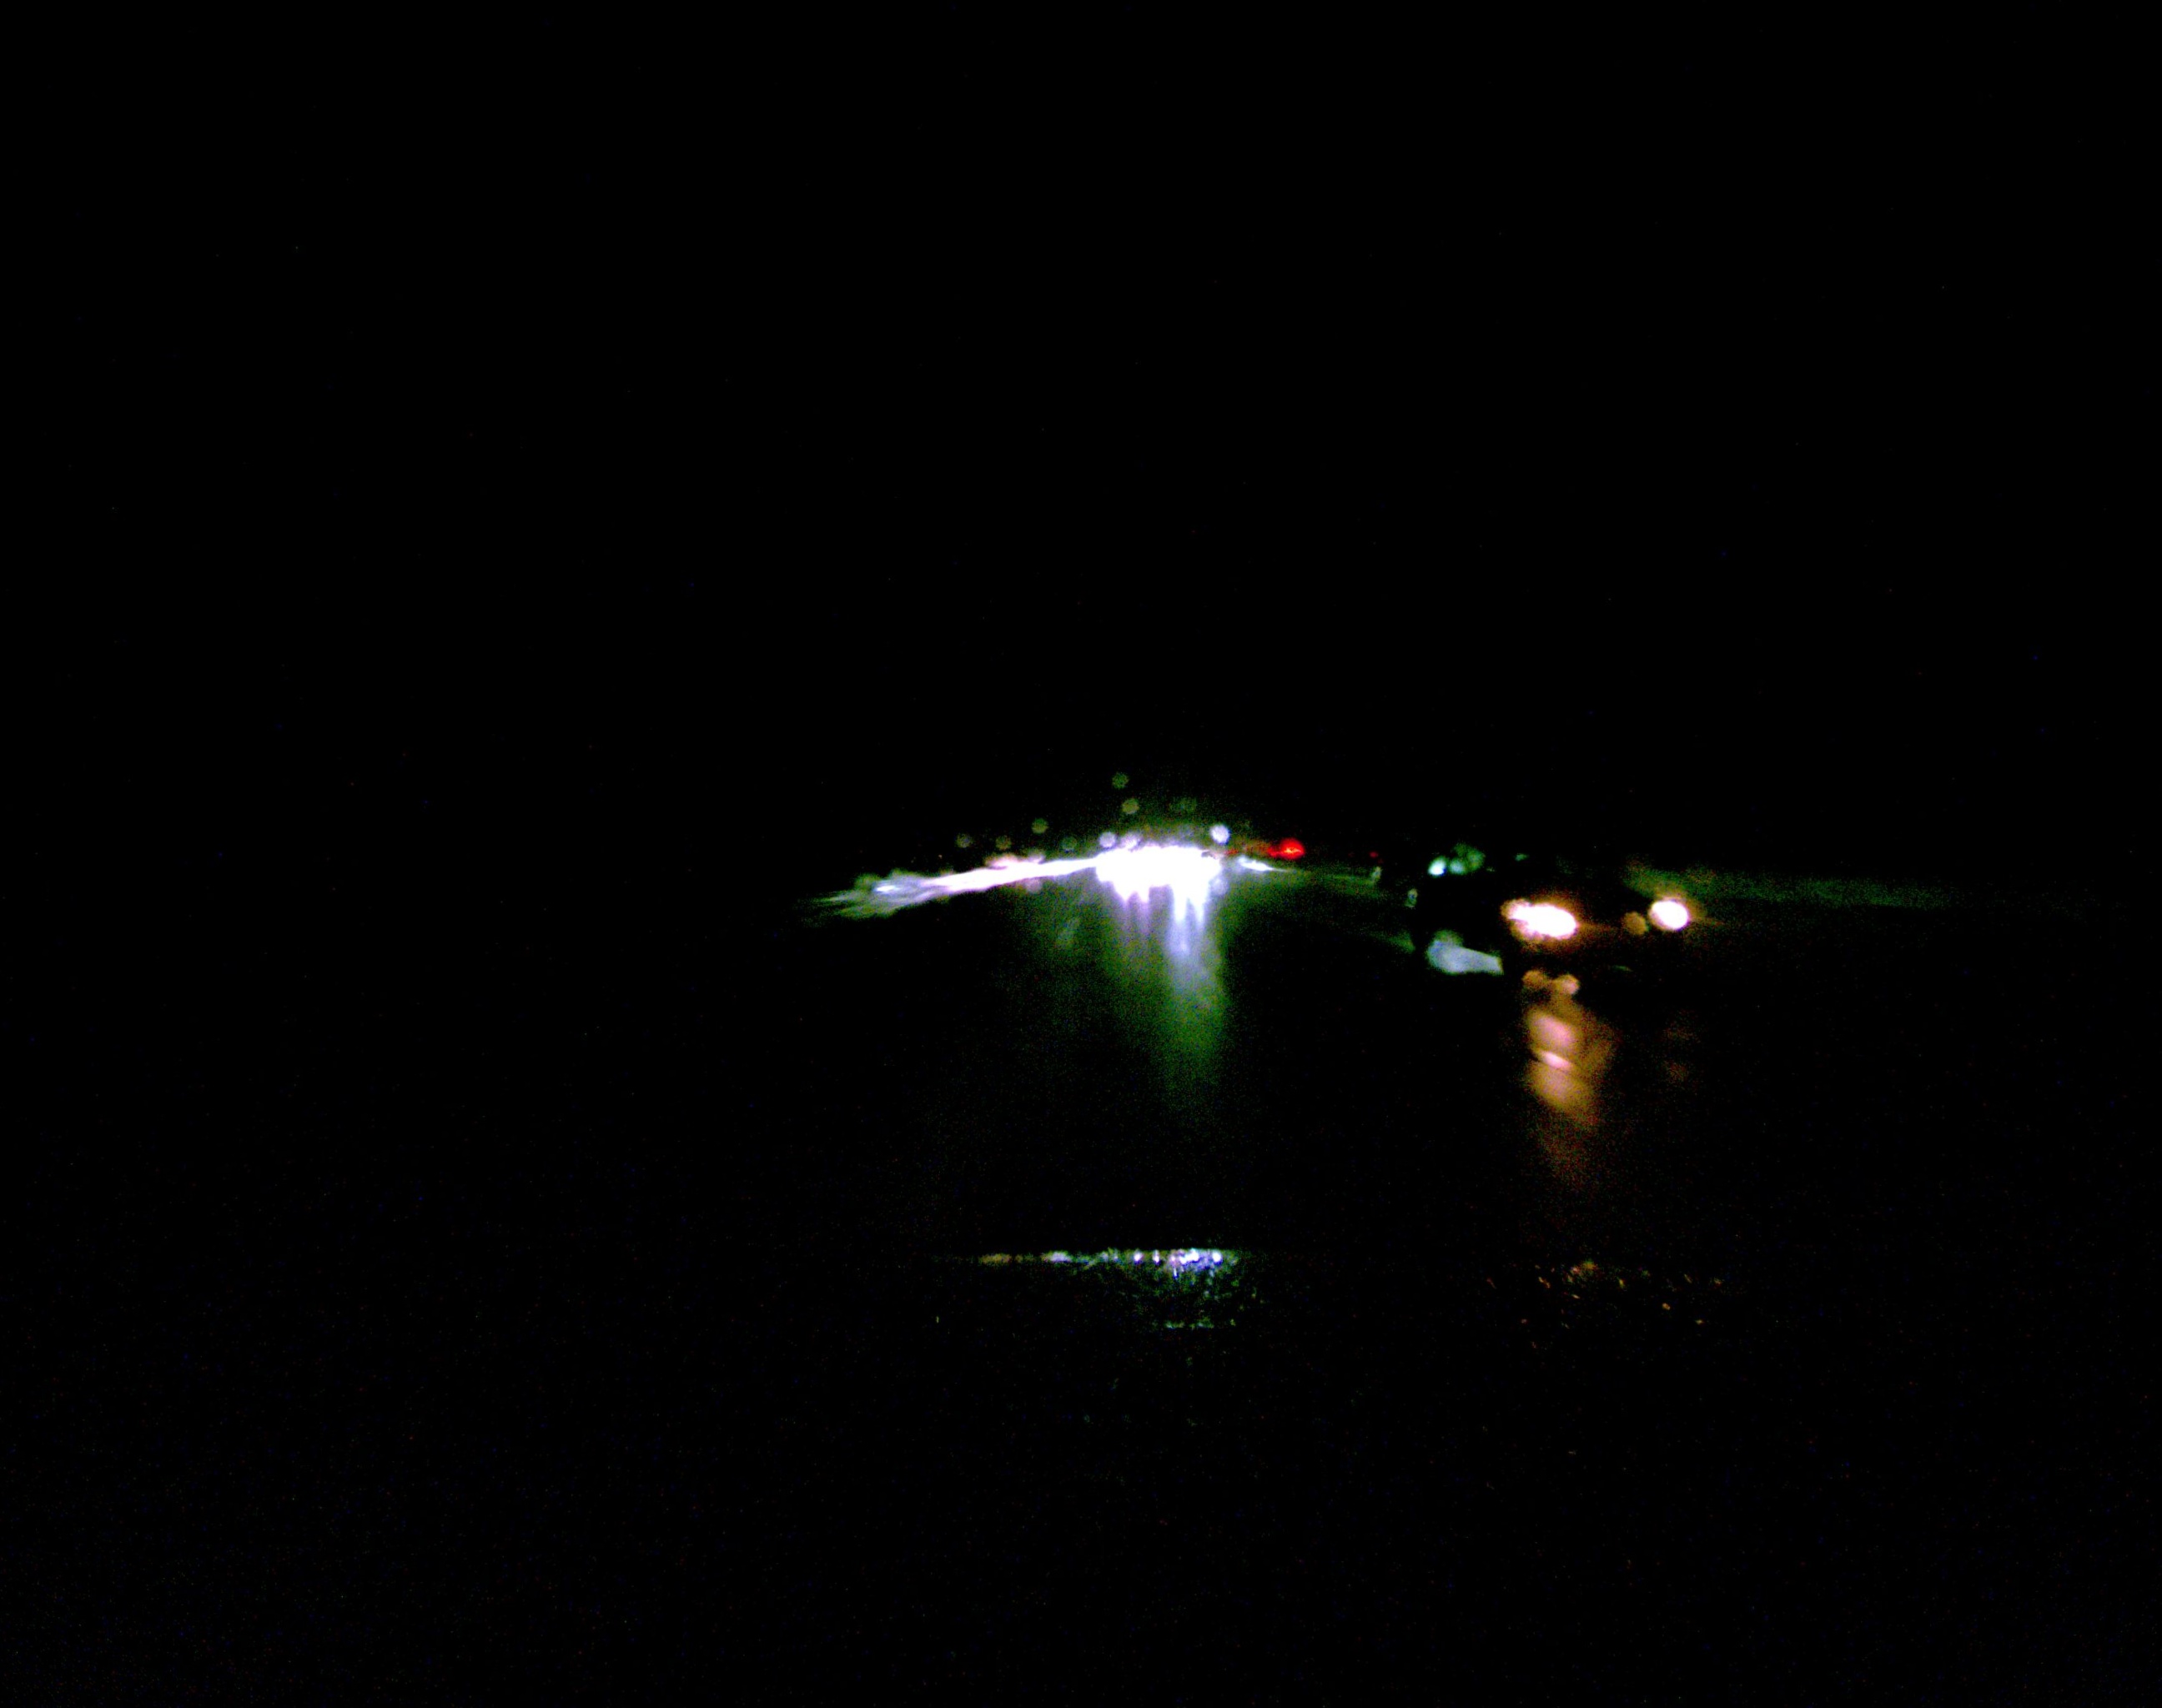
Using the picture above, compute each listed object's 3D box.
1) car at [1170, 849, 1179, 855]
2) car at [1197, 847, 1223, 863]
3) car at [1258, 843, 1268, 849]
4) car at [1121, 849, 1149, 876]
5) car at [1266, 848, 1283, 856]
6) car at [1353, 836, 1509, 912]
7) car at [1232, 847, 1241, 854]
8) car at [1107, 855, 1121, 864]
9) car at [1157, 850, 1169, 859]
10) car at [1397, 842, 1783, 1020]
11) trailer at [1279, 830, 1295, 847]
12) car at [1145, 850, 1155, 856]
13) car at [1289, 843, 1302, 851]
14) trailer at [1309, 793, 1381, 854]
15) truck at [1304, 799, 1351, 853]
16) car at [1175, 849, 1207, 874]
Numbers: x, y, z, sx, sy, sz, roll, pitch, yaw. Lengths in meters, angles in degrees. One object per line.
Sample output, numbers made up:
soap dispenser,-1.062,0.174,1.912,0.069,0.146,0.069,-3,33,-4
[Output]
car,20.605,-0.371,167.701,1.692,1.149,3.421,-5,1,6
car,14.195,0.108,83.878,2.310,1.600,3.871,-3,1,3
car,50.998,-2.331,212.928,1.780,1.587,5.152,-5,0,3
car,4.321,0.661,61.028,1.998,2.002,4.000,-3,1,2
car,29.958,-0.355,117.762,1.706,1.148,3.658,-3,1,1
car,9.514,0.470,21.207,1.999,1.767,4.886,-3,1,-1
car,43.081,-1.006,210.740,1.997,1.587,5.022,-5,1,8
car,4.948,0.820,113.789,1.998,1.149,4.001,-3,1,5
car,12.477,0.084,115.601,1.692,1.149,3.421,-3,1,4
car,5.690,0.708,9.301,1.920,1.585,4.233,-3,1,2
trailer,67.173,-4.993,248.376,3.270,5.039,13.978,-3,1,9
car,15.101,-0.162,166.076,1.998,1.149,4.001,-3,1,6
car,41.656,-1.352,147.564,1.779,1.462,3.987,-5,0,7
trailer,30.338,-3.343,88.266,3.470,6.092,14.409,-7,0,3
truck,30.707,-3.387,94.860,3.470,6.092,6.173,-7,1,3
car,8.111,0.548,56.344,1.998,1.667,4.000,-3,1,4
